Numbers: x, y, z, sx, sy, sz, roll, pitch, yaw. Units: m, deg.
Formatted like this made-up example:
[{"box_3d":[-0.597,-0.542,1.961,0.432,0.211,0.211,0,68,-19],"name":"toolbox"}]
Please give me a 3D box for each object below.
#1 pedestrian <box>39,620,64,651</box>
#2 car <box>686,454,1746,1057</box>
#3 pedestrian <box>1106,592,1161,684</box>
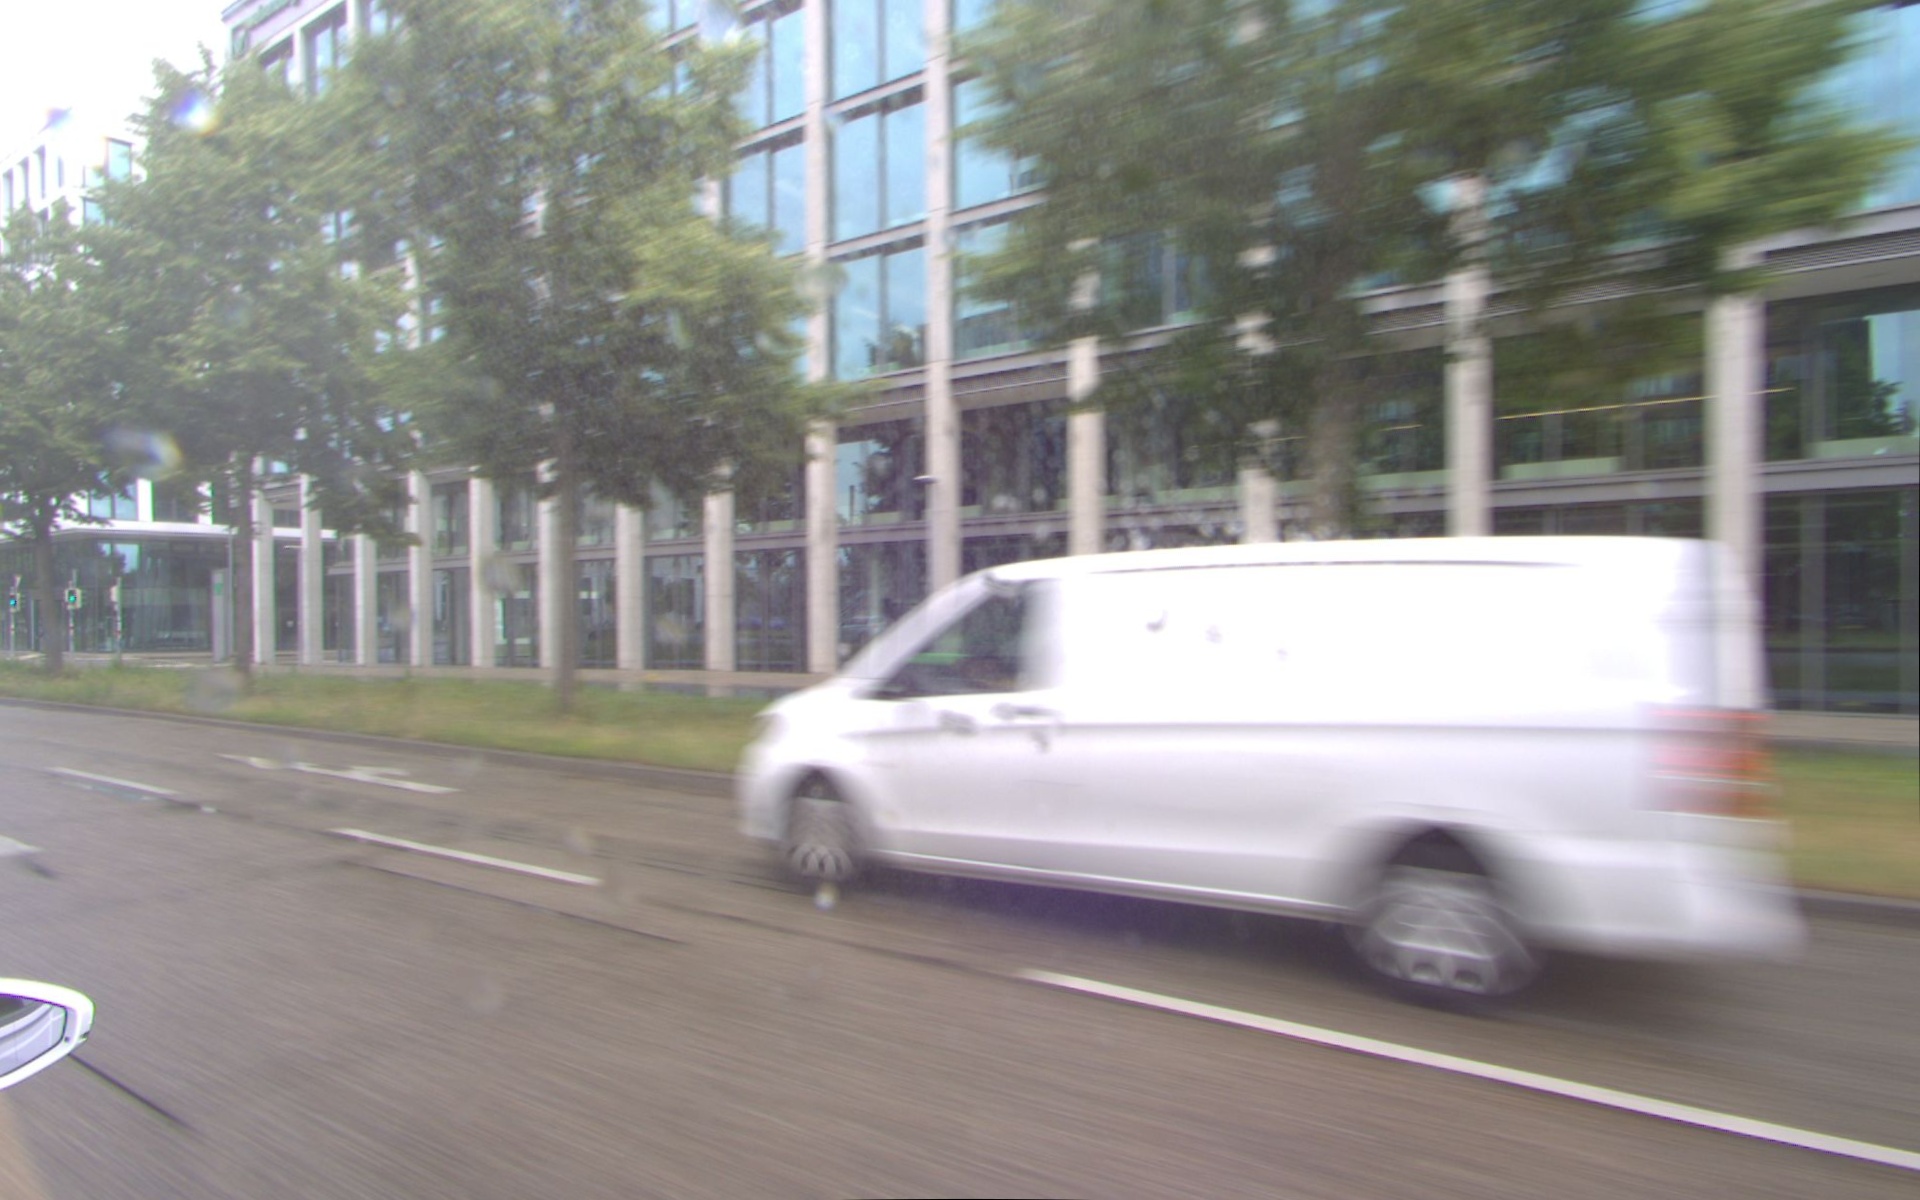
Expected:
[{"box_3d":[-50.590,1.962,55.787,0.769,1.729,0.679,0,-1,-6],"name":"pedestrian"},{"box_3d":[0.987,0.595,5.510,5.019,2.004,1.964,-1,-2,32],"name":"car"},{"box_3d":[3.407,0.730,19.643,0.849,1.738,0.715,0,2,31],"name":"pedestrian"}]
